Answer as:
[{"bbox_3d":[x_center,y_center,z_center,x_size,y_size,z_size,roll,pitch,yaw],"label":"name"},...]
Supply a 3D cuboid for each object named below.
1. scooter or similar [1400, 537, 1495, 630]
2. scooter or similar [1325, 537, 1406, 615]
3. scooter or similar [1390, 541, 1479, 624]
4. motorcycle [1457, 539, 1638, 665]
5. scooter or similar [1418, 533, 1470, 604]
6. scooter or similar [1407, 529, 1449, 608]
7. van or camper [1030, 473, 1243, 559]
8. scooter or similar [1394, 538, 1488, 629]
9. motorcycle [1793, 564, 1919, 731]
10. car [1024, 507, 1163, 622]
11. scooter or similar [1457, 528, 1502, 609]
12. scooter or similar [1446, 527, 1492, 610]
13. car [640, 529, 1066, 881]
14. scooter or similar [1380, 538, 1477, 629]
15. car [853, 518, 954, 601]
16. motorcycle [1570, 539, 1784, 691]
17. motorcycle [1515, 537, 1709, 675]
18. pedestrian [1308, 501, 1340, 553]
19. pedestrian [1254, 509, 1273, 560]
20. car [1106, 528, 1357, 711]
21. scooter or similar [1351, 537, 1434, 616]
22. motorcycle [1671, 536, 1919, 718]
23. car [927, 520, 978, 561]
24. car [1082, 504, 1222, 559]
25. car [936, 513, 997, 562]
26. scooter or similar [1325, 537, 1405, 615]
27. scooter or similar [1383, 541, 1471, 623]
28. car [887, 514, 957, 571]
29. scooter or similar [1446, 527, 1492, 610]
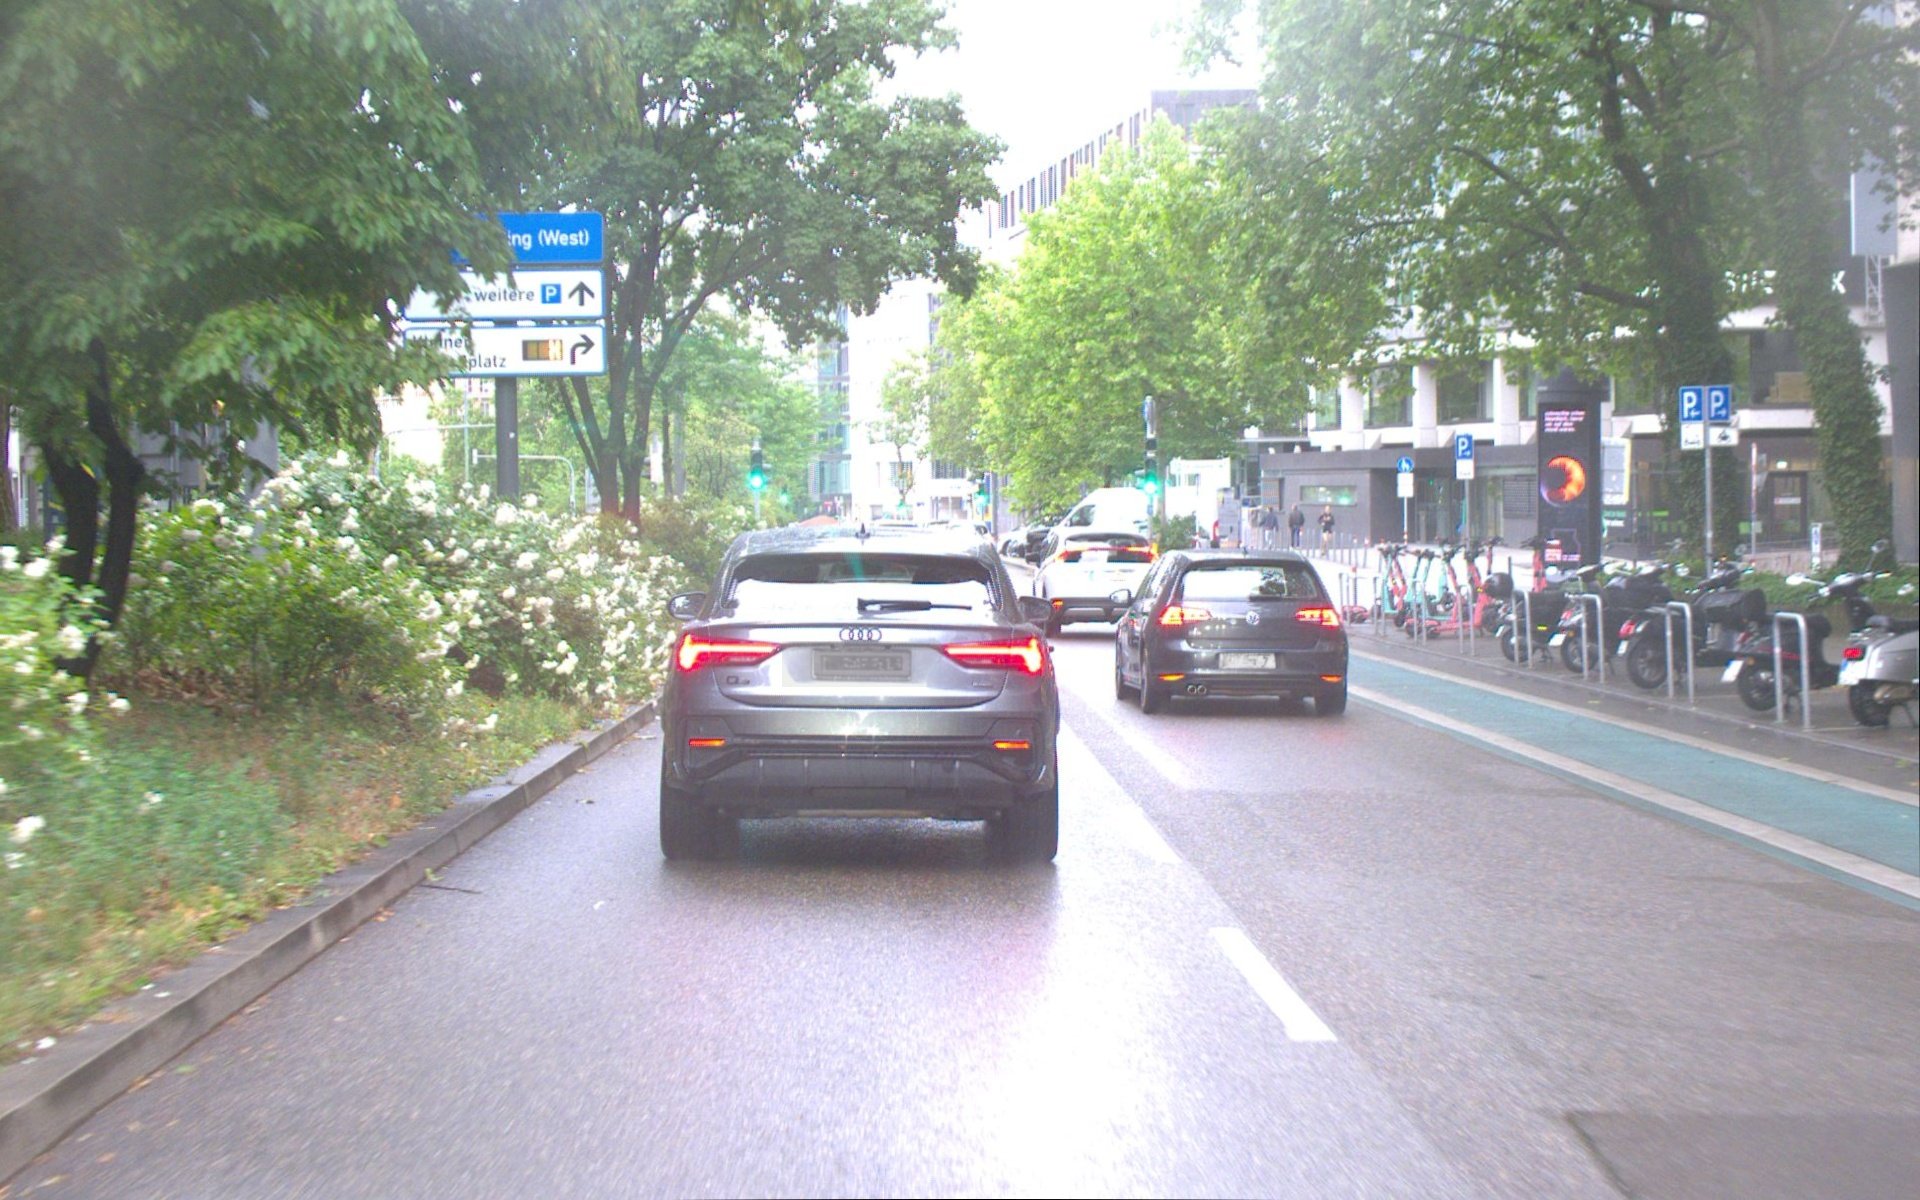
[{"bbox_3d":[7.019,-0.241,49.563,1.289,1.274,0.537,-1,3,3],"label":"scooter or similar"},{"bbox_3d":[6.725,-0.396,57.024,1.290,1.255,0.489,-1,3,11],"label":"scooter or similar"},{"bbox_3d":[7.291,-0.273,52.832,1.289,1.231,0.489,-1,3,1],"label":"scooter or similar"},{"bbox_3d":[6.895,0.015,40.373,1.955,1.369,0.729,-2,3,-17],"label":"motorcycle"},{"bbox_3d":[8.237,-0.546,58.535,0.487,1.193,1.294,0,1,-10],"label":"scooter or similar"},{"bbox_3d":[7.849,-0.540,57.675,0.487,1.255,1.294,-2,3,-1],"label":"scooter or similar"},{"bbox_3d":[5.314,-2.518,103.679,6.074,2.549,2.102,0,1,26],"label":"van or camper"},{"bbox_3d":[6.995,-0.246,50.006,1.289,1.274,0.537,-1,3,3],"label":"scooter or similar"},{"bbox_3d":[7.503,0.339,26.929,2.054,1.208,0.685,-4,1,-36],"label":"motorcycle"},{"bbox_3d":[1.967,-0.564,51.813,1.849,1.663,4.039,0,1,-1],"label":"car"},{"bbox_3d":[8.454,-0.516,55.977,0.487,1.255,1.294,-2,3,-1],"label":"scooter or similar"},{"bbox_3d":[8.098,-0.506,54.741,0.487,1.255,1.294,-2,3,-1],"label":"scooter or similar"},{"bbox_3d":[-0.530,0.418,16.973,1.849,1.518,4.039,0,1,-2],"label":"car"},{"bbox_3d":[6.908,-0.254,50.690,1.289,1.274,0.537,-2,3,-11],"label":"scooter or similar"},{"bbox_3d":[-1.080,-0.792,65.037,1.849,1.518,4.039,0,1,-1],"label":"car"},{"bbox_3d":[7.021,0.130,33.668,1.955,1.369,0.729,-3,3,-22],"label":"motorcycle"},{"bbox_3d":[7.041,0.051,37.100,1.955,1.369,0.729,-3,3,-22],"label":"motorcycle"},{"bbox_3d":[12.047,-2.409,113.763,0.805,1.690,1.187,1,1,-5],"label":"pedestrian"},{"bbox_3d":[10.799,-2.340,122.281,0.553,1.799,0.762,1,0,-4],"label":"pedestrian"},{"bbox_3d":[2.356,0.119,30.787,1.849,1.518,4.039,0,1,-1],"label":"car"},{"bbox_3d":[7.110,-0.386,56.495,1.290,1.255,0.489,-1,3,11],"label":"scooter or similar"},{"bbox_3d":[7.145,0.215,29.276,2.053,1.423,0.729,-3,3,-22],"label":"motorcycle"},{"bbox_3d":[-0.282,-2.245,129.016,1.849,1.518,4.039,0,1,-1],"label":"car"},{"bbox_3d":[5.443,-1.952,97.543,3.652,1.542,1.713,1,1,18],"label":"car"},{"bbox_3d":[0.194,-2.015,110.584,1.849,1.518,4.039,0,1,-1],"label":"car"},{"bbox_3d":[6.790,-0.402,57.637,1.290,1.255,0.489,-1,3,11],"label":"scooter or similar"},{"bbox_3d":[7.275,-0.281,53.577,1.289,1.231,0.489,-1,3,1],"label":"scooter or similar"},{"bbox_3d":[-1.041,-1.569,93.147,1.849,1.518,4.039,0,1,-1],"label":"car"},{"bbox_3d":[8.098,-0.506,54.741,0.487,1.255,1.294,-2,3,-1],"label":"scooter or similar"}]
